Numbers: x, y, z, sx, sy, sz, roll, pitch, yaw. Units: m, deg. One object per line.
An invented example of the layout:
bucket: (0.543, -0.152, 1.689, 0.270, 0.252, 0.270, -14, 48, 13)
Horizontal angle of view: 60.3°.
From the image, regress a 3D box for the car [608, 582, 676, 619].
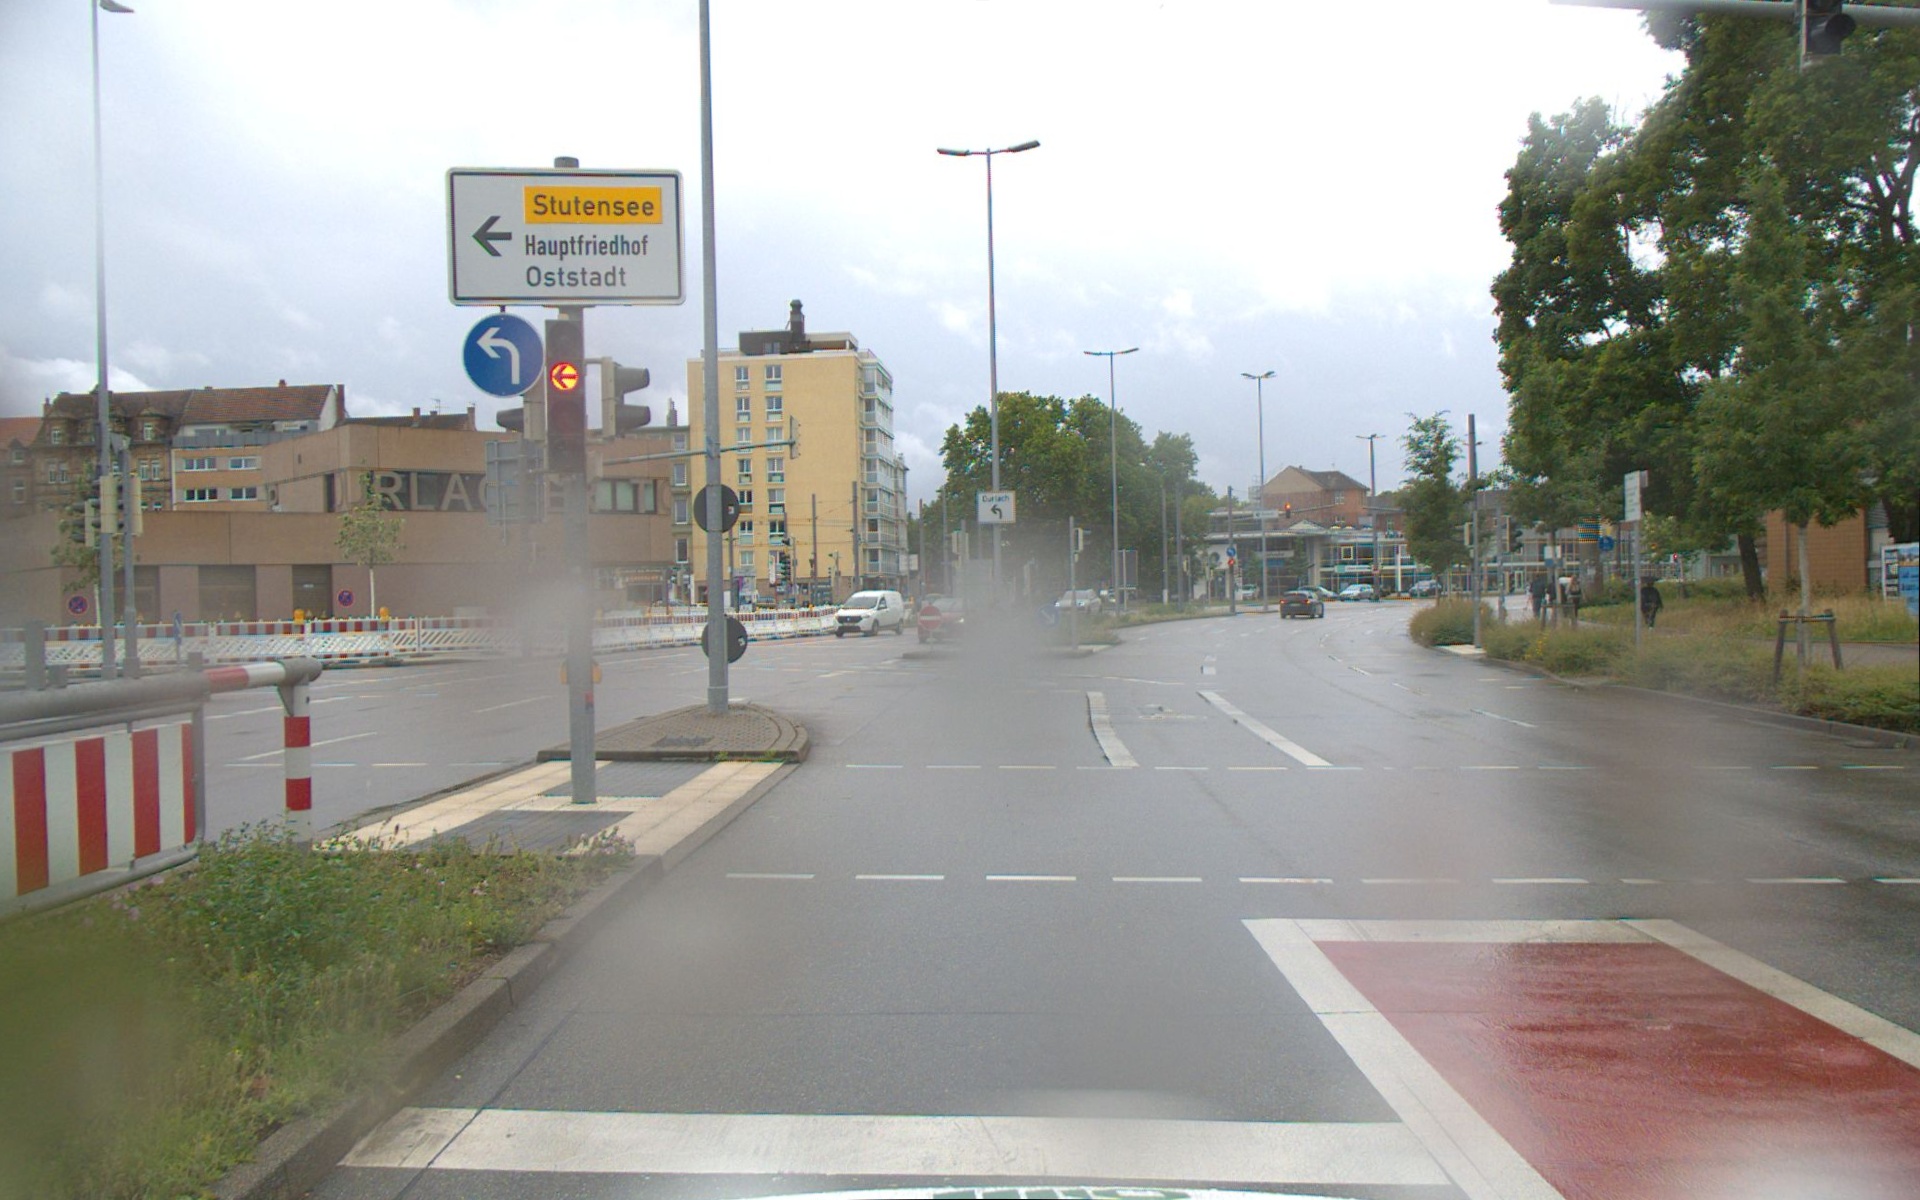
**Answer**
car: (-27.203, 0.023, 141.674, 5.239, 2.937, 2.340, -2, 0, 2)

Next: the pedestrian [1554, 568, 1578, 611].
pedestrian: (23.252, -0.402, 63.478, 0.688, 1.615, 0.937, -1, 0, 9)

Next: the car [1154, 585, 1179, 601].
car: (23.764, -0.823, 190.346, 1.753, 1.672, 4.159, -1, 0, 23)

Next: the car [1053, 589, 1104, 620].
car: (6.753, 0.249, 93.719, 1.753, 1.672, 4.160, -1, 0, 21)

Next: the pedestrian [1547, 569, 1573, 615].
pedestrian: (21.353, -0.294, 58.864, 0.688, 1.615, 0.937, -1, 0, 9)

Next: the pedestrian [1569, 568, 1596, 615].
pedestrian: (21.994, -0.309, 58.411, 0.688, 1.615, 0.937, -1, 0, 9)

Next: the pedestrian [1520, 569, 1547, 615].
pedestrian: (20.617, -0.276, 59.452, 0.737, 1.615, 0.937, -1, 0, 9)

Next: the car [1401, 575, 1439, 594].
car: (43.423, -1.456, 155.983, 1.765, 1.672, 4.133, -1, 0, 43)

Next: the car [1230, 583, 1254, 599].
car: (31.927, -1.043, 186.996, 1.753, 1.672, 4.159, -1, 0, 23)

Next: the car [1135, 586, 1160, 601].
car: (21.728, -0.774, 191.141, 1.753, 1.672, 4.159, -1, 0, 23)

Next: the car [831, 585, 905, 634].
car: (-3.680, 0.354, 66.839, 1.752, 1.890, 4.163, -1, 0, 15)

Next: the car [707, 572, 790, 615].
car: (-18.021, -0.532, 141.183, 6.601, 3.439, 2.810, -2, 0, 2)

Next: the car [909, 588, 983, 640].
car: (-0.430, 0.444, 56.749, 1.752, 1.672, 4.050, -1, 0, 11)

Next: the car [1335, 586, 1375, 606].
car: (35.876, -0.350, 150.028, 1.764, 1.672, 4.134, -1, 0, 42)

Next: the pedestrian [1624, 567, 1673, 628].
pedestrian: (18.670, -0.076, 44.848, 1.000, 1.615, 0.937, -1, 0, 9)

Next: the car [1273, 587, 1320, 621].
car: (17.723, 0.200, 87.086, 1.753, 1.672, 4.160, -1, 0, 21)
